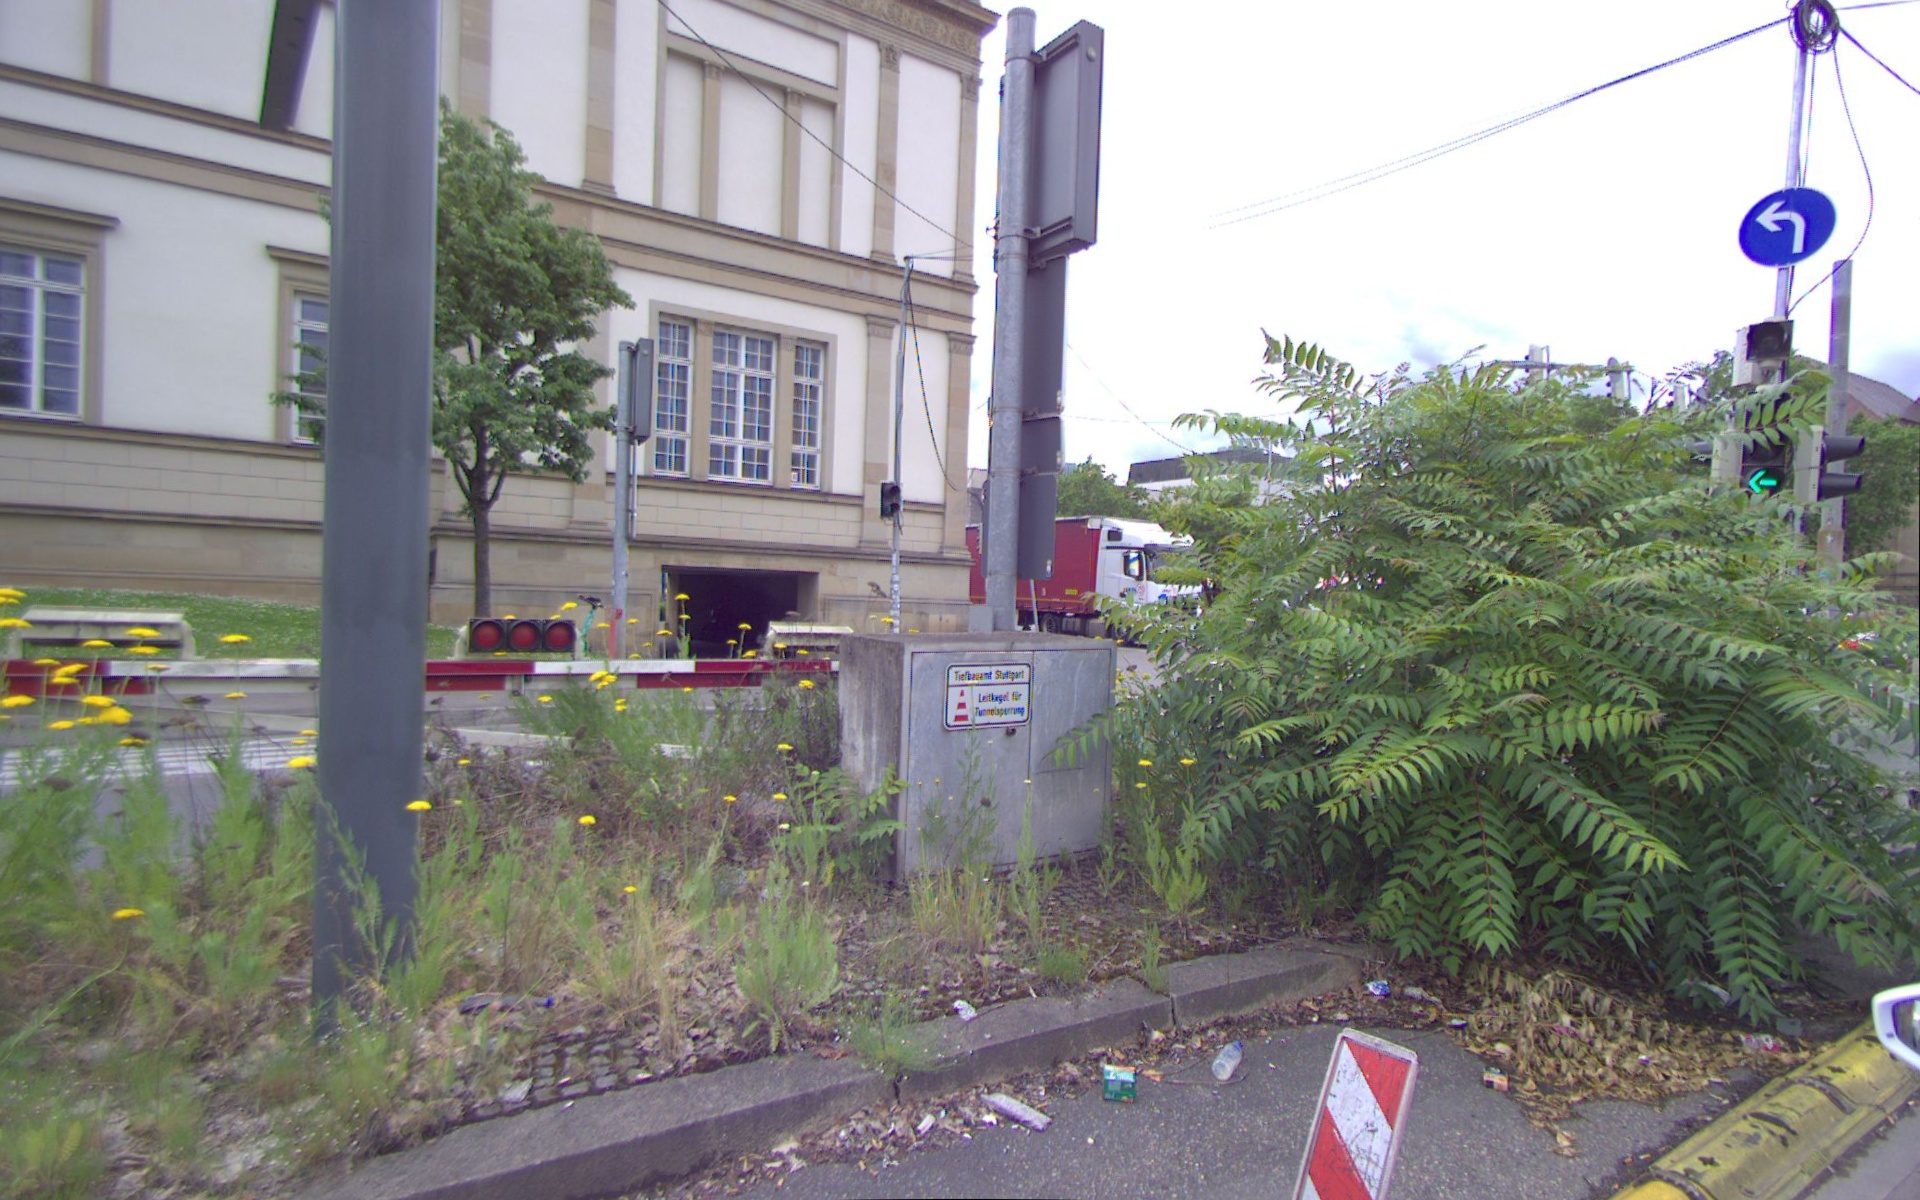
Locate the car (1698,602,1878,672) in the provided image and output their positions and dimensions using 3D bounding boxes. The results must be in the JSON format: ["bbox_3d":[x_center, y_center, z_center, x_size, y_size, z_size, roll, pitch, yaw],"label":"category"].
[{"bbox_3d":[40.813,1.761,49.684,6.663,3.092,2.359,2,0,43],"label":"car"}]

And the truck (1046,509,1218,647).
[{"bbox_3d":[5.514,-0.648,32.789,2.915,4.117,4.846,2,0,-34],"label":"truck"}]

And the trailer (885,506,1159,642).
[{"bbox_3d":[1.704,-0.892,38.701,2.916,4.338,13.662,2,0,-33],"label":"trailer"}]
